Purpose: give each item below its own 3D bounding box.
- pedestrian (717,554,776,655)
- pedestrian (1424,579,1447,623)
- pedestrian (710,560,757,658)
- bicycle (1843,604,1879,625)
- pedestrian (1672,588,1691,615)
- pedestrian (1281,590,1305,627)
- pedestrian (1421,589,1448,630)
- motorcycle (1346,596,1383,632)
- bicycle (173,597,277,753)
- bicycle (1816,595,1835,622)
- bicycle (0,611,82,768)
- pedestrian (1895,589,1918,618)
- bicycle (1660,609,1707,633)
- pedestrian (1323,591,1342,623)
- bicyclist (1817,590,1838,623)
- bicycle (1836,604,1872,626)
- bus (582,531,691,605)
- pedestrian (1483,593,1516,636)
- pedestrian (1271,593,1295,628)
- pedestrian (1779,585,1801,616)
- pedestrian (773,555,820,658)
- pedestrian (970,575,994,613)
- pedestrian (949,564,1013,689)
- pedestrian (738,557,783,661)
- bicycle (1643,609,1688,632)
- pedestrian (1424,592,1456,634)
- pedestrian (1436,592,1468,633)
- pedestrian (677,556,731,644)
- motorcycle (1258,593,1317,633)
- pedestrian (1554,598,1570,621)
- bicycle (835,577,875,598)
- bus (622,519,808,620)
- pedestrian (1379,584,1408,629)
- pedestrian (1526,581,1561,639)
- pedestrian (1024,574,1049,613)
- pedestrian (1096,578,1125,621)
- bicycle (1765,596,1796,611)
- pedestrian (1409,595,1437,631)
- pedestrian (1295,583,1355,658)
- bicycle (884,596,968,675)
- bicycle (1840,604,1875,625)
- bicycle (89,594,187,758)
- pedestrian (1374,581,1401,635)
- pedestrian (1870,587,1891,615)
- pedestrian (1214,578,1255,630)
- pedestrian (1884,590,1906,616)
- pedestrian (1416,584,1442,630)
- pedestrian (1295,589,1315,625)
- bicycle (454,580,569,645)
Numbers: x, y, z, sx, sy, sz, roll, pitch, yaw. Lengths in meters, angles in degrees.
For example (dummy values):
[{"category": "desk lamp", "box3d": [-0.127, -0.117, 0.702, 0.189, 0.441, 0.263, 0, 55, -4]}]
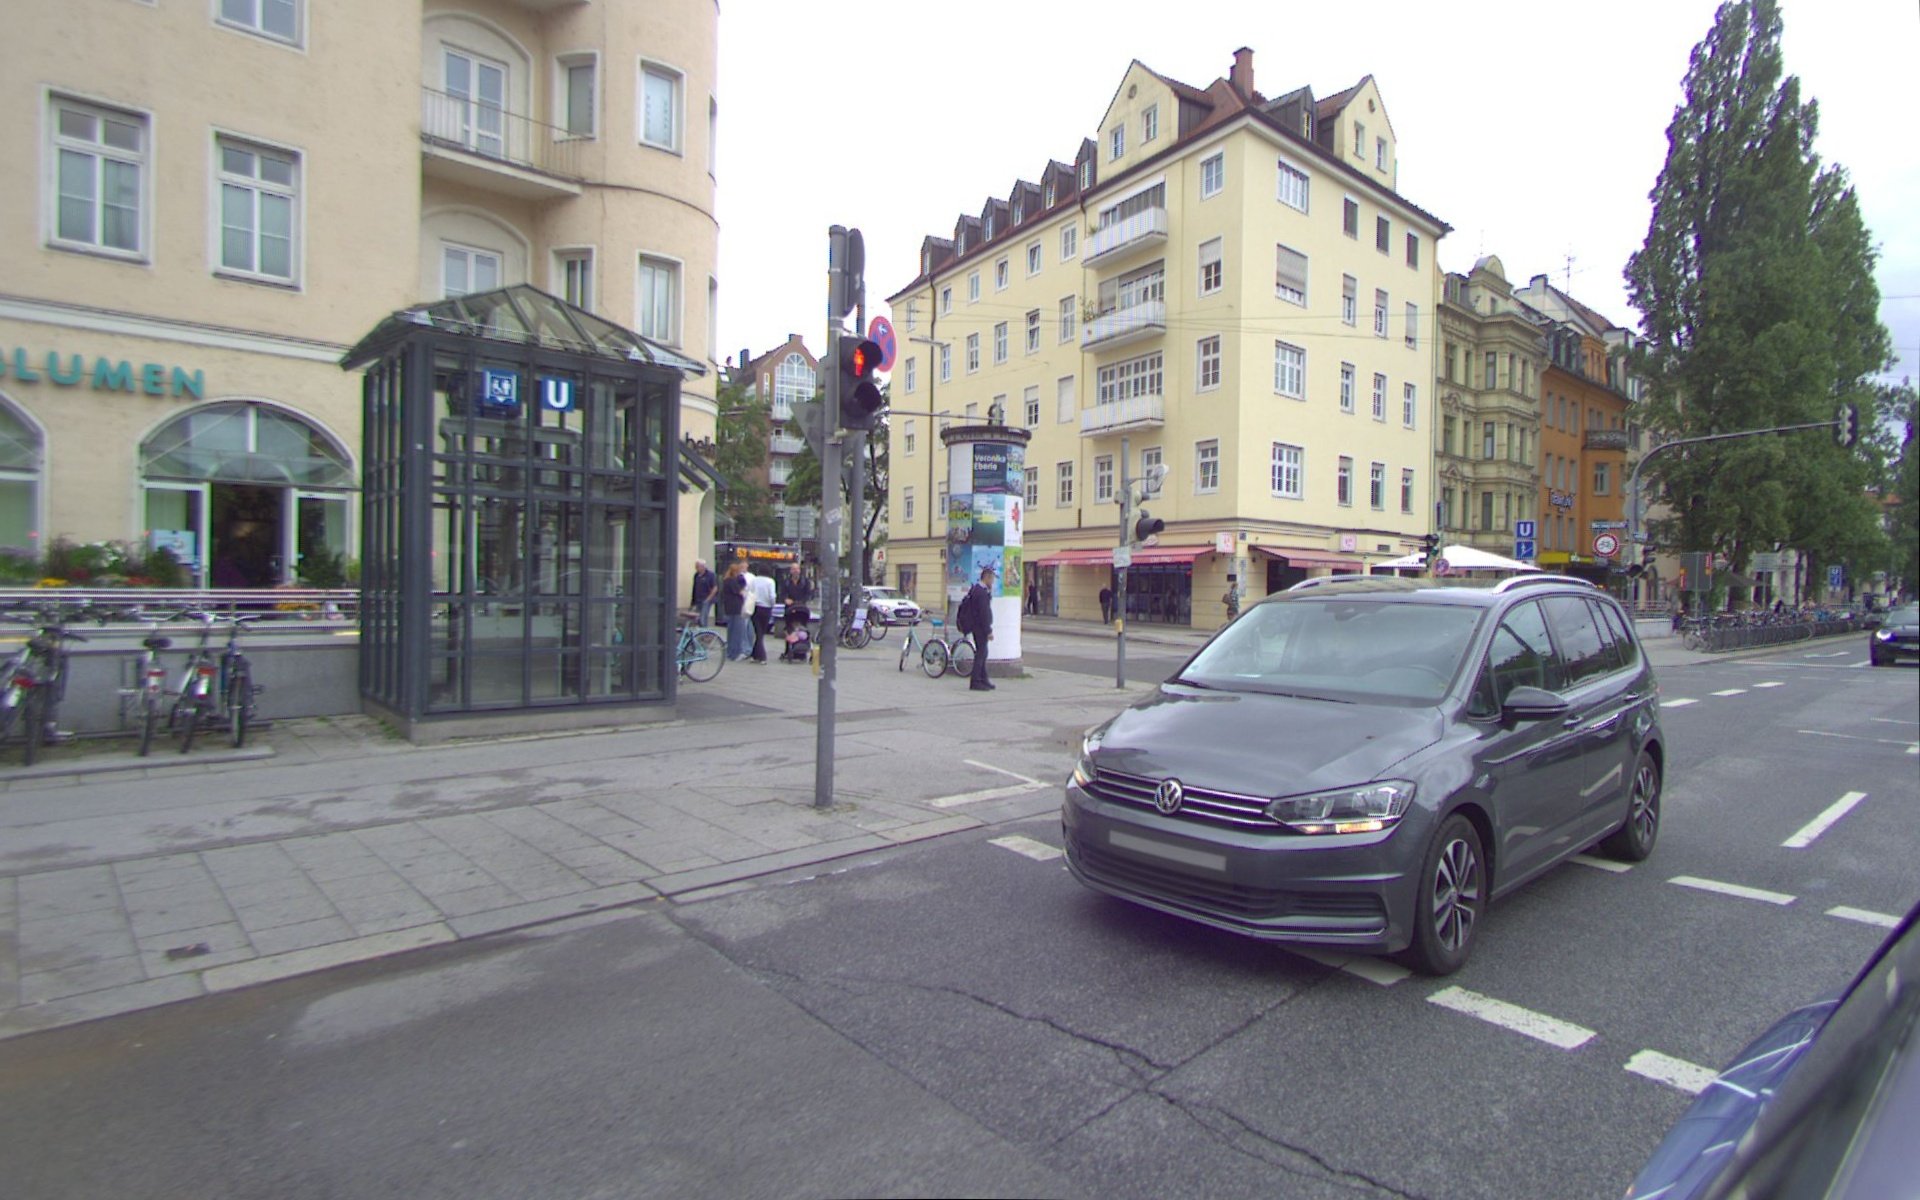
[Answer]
[{"category": "pedestrian", "box3d": [-3.805, 0.091, 18.066, 0.638, 1.727, 0.728, 3, -1, 20]}, {"category": "pedestrian", "box3d": [19.133, 0.034, 40.743, 0.654, 1.761, 0.601, 1, 1, -41]}, {"category": "pedestrian", "box3d": [-3.913, 0.149, 17.446, 0.556, 1.630, 0.563, 4, -1, -28]}, {"category": "bicycle", "box3d": [44.036, 0.713, 49.488, 0.369, 1.008, 1.837, 1, -1, 9]}, {"category": "pedestrian", "box3d": [46.921, 0.098, 65.812, 0.999, 1.735, 0.747, 1, 1, -41]}, {"category": "pedestrian", "box3d": [11.980, 0.293, 36.423, 0.691, 1.308, 0.515, 1, 1, -43]}, {"category": "pedestrian", "box3d": [17.058, 0.341, 36.408, 0.606, 1.440, 0.677, 1, 1, -41]}, {"category": "motorcycle", "box3d": [13.653, 0.454, 34.166, 1.543, 1.171, 0.487, 0, 1, -41]}, {"category": "bicycle", "box3d": [-6.113, 0.556, 8.377, 0.500, 1.108, 1.841, 1, 1, -42]}, {"category": "bicycle", "box3d": [43.729, 0.430, 51.125, 1.747, 1.304, 0.424, 0, 1, -40]}, {"category": "bicycle", "box3d": [-6.922, 0.611, 7.571, 0.500, 0.976, 1.841, 1, 1, -42]}, {"category": "pedestrian", "box3d": [60.642, 0.203, 64.858, 0.741, 1.824, 0.883, 2, -1, -30]}, {"category": "bicycle", "box3d": [33.258, 0.953, 46.523, 1.722, 1.059, 0.381, 1, -1, 44]}, {"category": "pedestrian", "box3d": [13.764, 0.247, 37.388, 0.518, 1.180, 0.479, 1, 1, -43]}, {"category": "bicyclist", "box3d": [43.678, 0.322, 50.945, 0.923, 1.623, 0.681, 1, 1, -41]}, {"category": "bicycle", "box3d": [42.959, 0.710, 48.624, 0.369, 1.008, 1.837, 1, -1, 9]}, {"category": "bus", "box3d": [-15.221, -1.469, 47.042, 2.759, 3.004, 9.596, 2, 1, -30]}, {"category": "pedestrian", "box3d": [17.215, 0.461, 32.279, 0.782, 1.327, 0.679, 0, 1, -41]}, {"category": "pedestrian", "box3d": [11.415, 0.364, 35.792, 0.691, 1.197, 0.515, 1, 1, -43]}, {"category": "pedestrian", "box3d": [42.913, 0.043, 52.314, 0.749, 1.582, 0.761, 1, 0, -39]}, {"category": "pedestrian", "box3d": [-2.948, 0.116, 18.218, 0.623, 1.774, 0.652, 4, -1, -18]}, {"category": "pedestrian", "box3d": [0.990, -0.288, 45.144, 0.752, 1.663, 0.761, 1, 1, -31]}, {"category": "pedestrian", "box3d": [0.283, 0.355, 14.421, 0.803, 1.712, 0.837, 1, 1, -3]}, {"category": "pedestrian", "box3d": [-3.356, 0.147, 17.003, 0.550, 1.692, 0.568, 4, -1, -18]}, {"category": "bicycle", "box3d": [33.292, 0.966, 47.783, 0.379, 1.059, 1.730, 2, -1, -30]}, {"category": "pedestrian", "box3d": [15.650, 0.404, 32.994, 0.782, 1.328, 0.679, 0, 1, -41]}, {"category": "pedestrian", "box3d": [16.309, 0.406, 33.569, 0.782, 1.328, 0.679, 0, 1, -41]}, {"category": "pedestrian", "box3d": [-5.215, 0.004, 20.626, 0.735, 1.727, 0.680, 4, -1, 11]}, {"category": "motorcycle", "box3d": [10.415, 0.414, 32.220, 1.744, 1.215, 0.539, 1, 1, 20]}, {"category": "pedestrian", "box3d": [32.842, 0.490, 55.220, 0.573, 1.233, 0.623, 1, 1, -42]}, {"category": "bicycle", "box3d": [-6.636, -0.803, 63.805, 2.429, 1.257, 0.757, 1, 1, -14]}, {"category": "bus", "box3d": [-9.412, -1.101, 36.977, 2.759, 3.004, 13.620, 2, 1, -30]}, {"category": "pedestrian", "box3d": [16.435, 0.243, 38.386, 0.772, 1.653, 0.711, 1, 1, -41]}, {"category": "pedestrian", "box3d": [18.151, 0.306, 31.467, 0.877, 1.765, 0.848, 1, 1, 33]}, {"category": "pedestrian", "box3d": [3.346, -0.287, 44.357, 0.690, 1.704, 0.854, 1, 1, -31]}, {"category": "pedestrian", "box3d": [5.710, -0.028, 38.513, 0.754, 1.605, 0.760, 1, 1, -37]}, {"category": "bicycle", "box3d": [62.271, 0.271, 76.771, 1.854, 1.169, 0.464, 0, 0, 7]}, {"category": "pedestrian", "box3d": [15.690, 0.430, 34.271, 0.688, 1.218, 0.627, 0, 1, -41]}, {"category": "pedestrian", "box3d": [8.988, 0.480, 24.939, 1.045, 1.777, 0.936, 1, 1, -37]}, {"category": "bicycle", "box3d": [-0.576, 0.568, 16.584, 0.515, 1.174, 1.573, 3, 0, -38]}, {"category": "bicycle", "box3d": [43.535, 0.712, 49.105, 0.369, 1.008, 1.837, 1, -1, 9]}, {"category": "bicycle", "box3d": [-6.515, 0.533, 7.991, 0.500, 1.108, 1.841, 1, 1, -42]}, {"category": "pedestrian", "box3d": [13.736, 0.249, 32.488, 0.752, 1.716, 0.762, 1, 1, 24]}, {"category": "pedestrian", "box3d": [58.665, 0.072, 64.512, 0.638, 1.803, 0.702, 1, -1, -7]}, {"category": "pedestrian", "box3d": [9.263, 0.134, 34.198, 0.824, 1.704, 1.037, 1, 1, -43]}, {"category": "pedestrian", "box3d": [59.568, 0.200, 64.485, 0.743, 1.659, 0.700, 1, -1, 6]}, {"category": "pedestrian", "box3d": [17.275, 0.240, 37.276, 0.666, 1.653, 0.616, 1, 1, -41]}, {"category": "pedestrian", "box3d": [12.612, 0.256, 37.026, 0.518, 1.315, 0.479, 1, 1, -43]}, {"category": "bicycle", "box3d": [-8.022, 0.206, 18.174, 0.494, 1.103, 1.837, 2, 1, 43]}]
